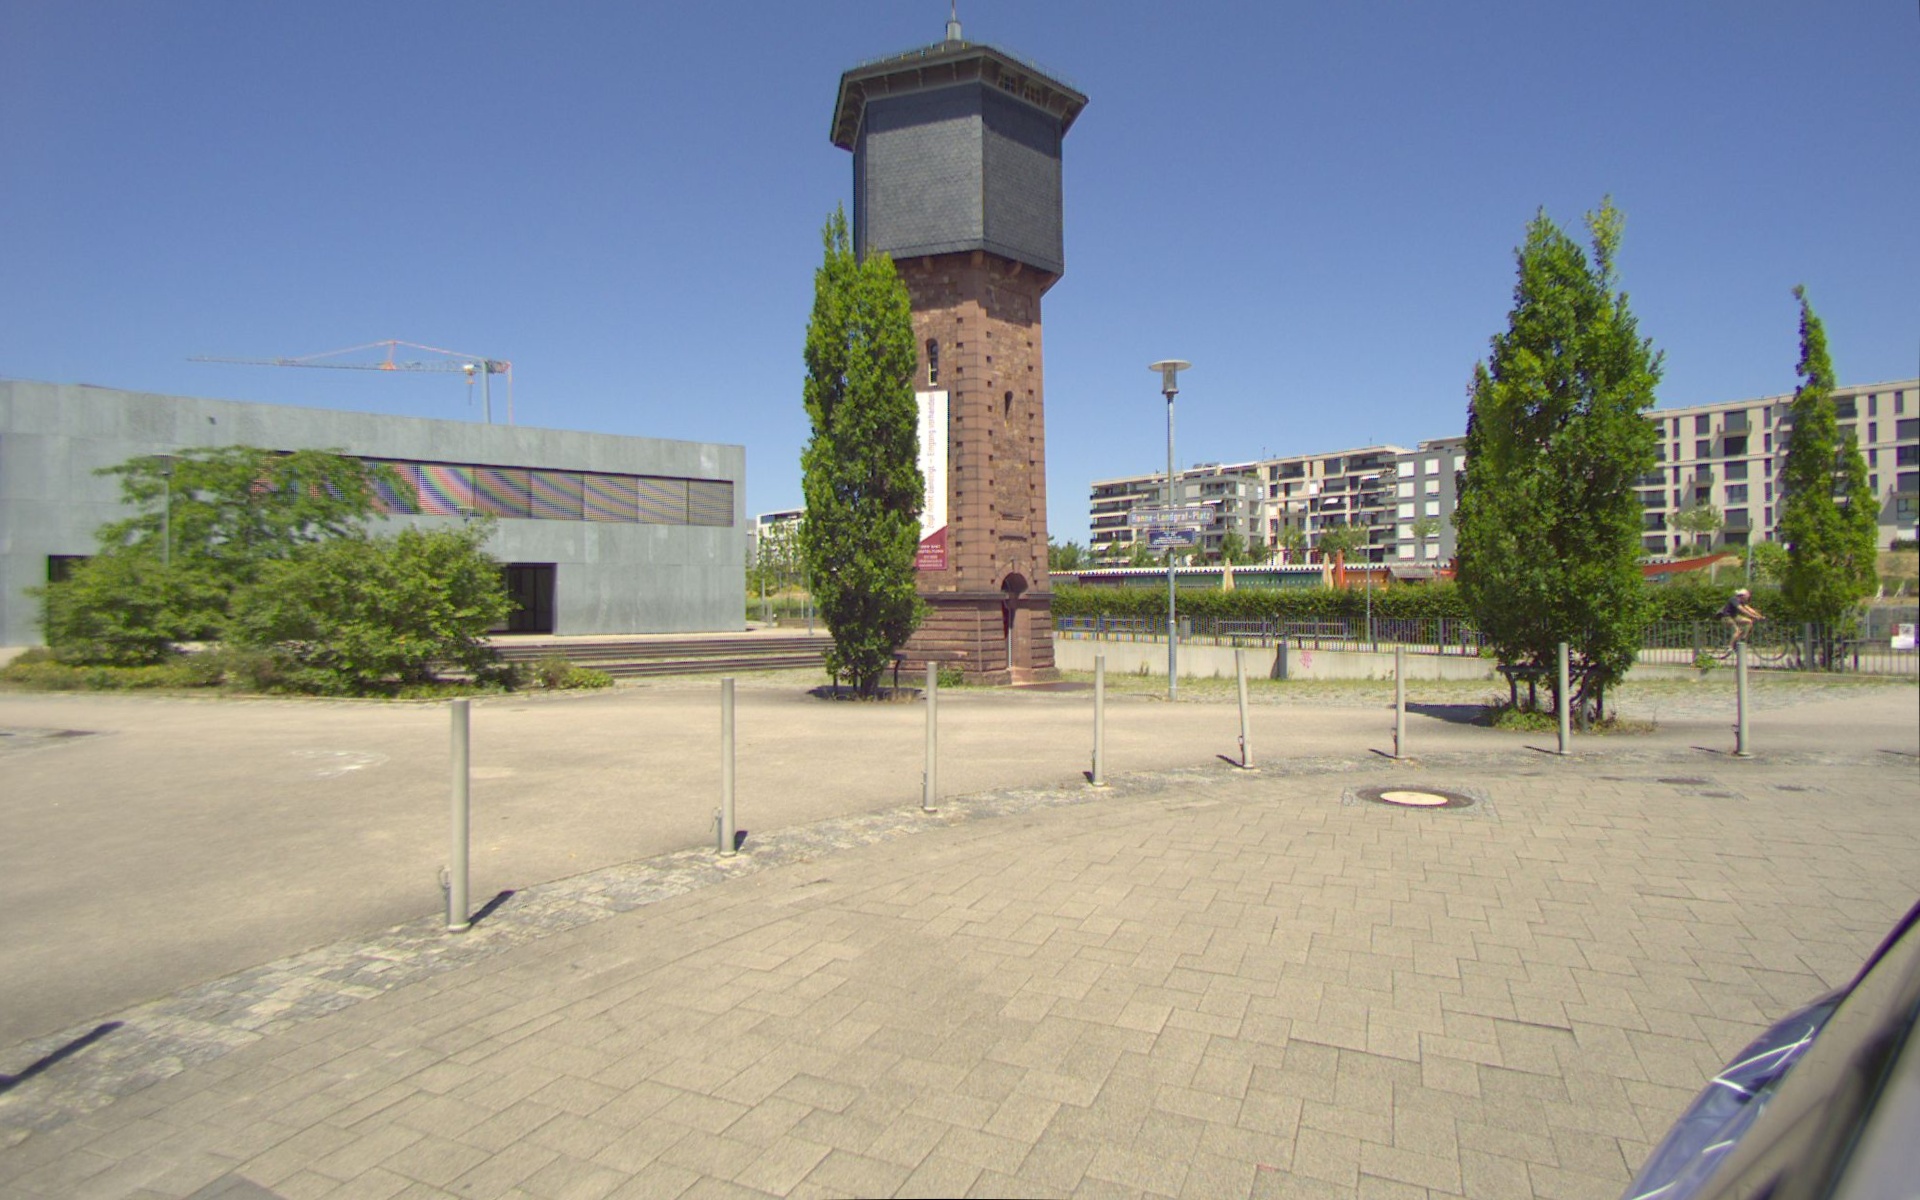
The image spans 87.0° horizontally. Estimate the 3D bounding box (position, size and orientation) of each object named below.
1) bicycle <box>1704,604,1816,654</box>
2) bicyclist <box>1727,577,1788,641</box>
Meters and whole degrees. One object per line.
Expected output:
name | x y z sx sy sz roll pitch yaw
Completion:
bicycle | 18.732 0.660 23.741 0.783 1.132 1.915 0 -1 -34
bicyclist | 18.720 0.206 23.755 0.843 1.474 0.883 0 -1 -34
